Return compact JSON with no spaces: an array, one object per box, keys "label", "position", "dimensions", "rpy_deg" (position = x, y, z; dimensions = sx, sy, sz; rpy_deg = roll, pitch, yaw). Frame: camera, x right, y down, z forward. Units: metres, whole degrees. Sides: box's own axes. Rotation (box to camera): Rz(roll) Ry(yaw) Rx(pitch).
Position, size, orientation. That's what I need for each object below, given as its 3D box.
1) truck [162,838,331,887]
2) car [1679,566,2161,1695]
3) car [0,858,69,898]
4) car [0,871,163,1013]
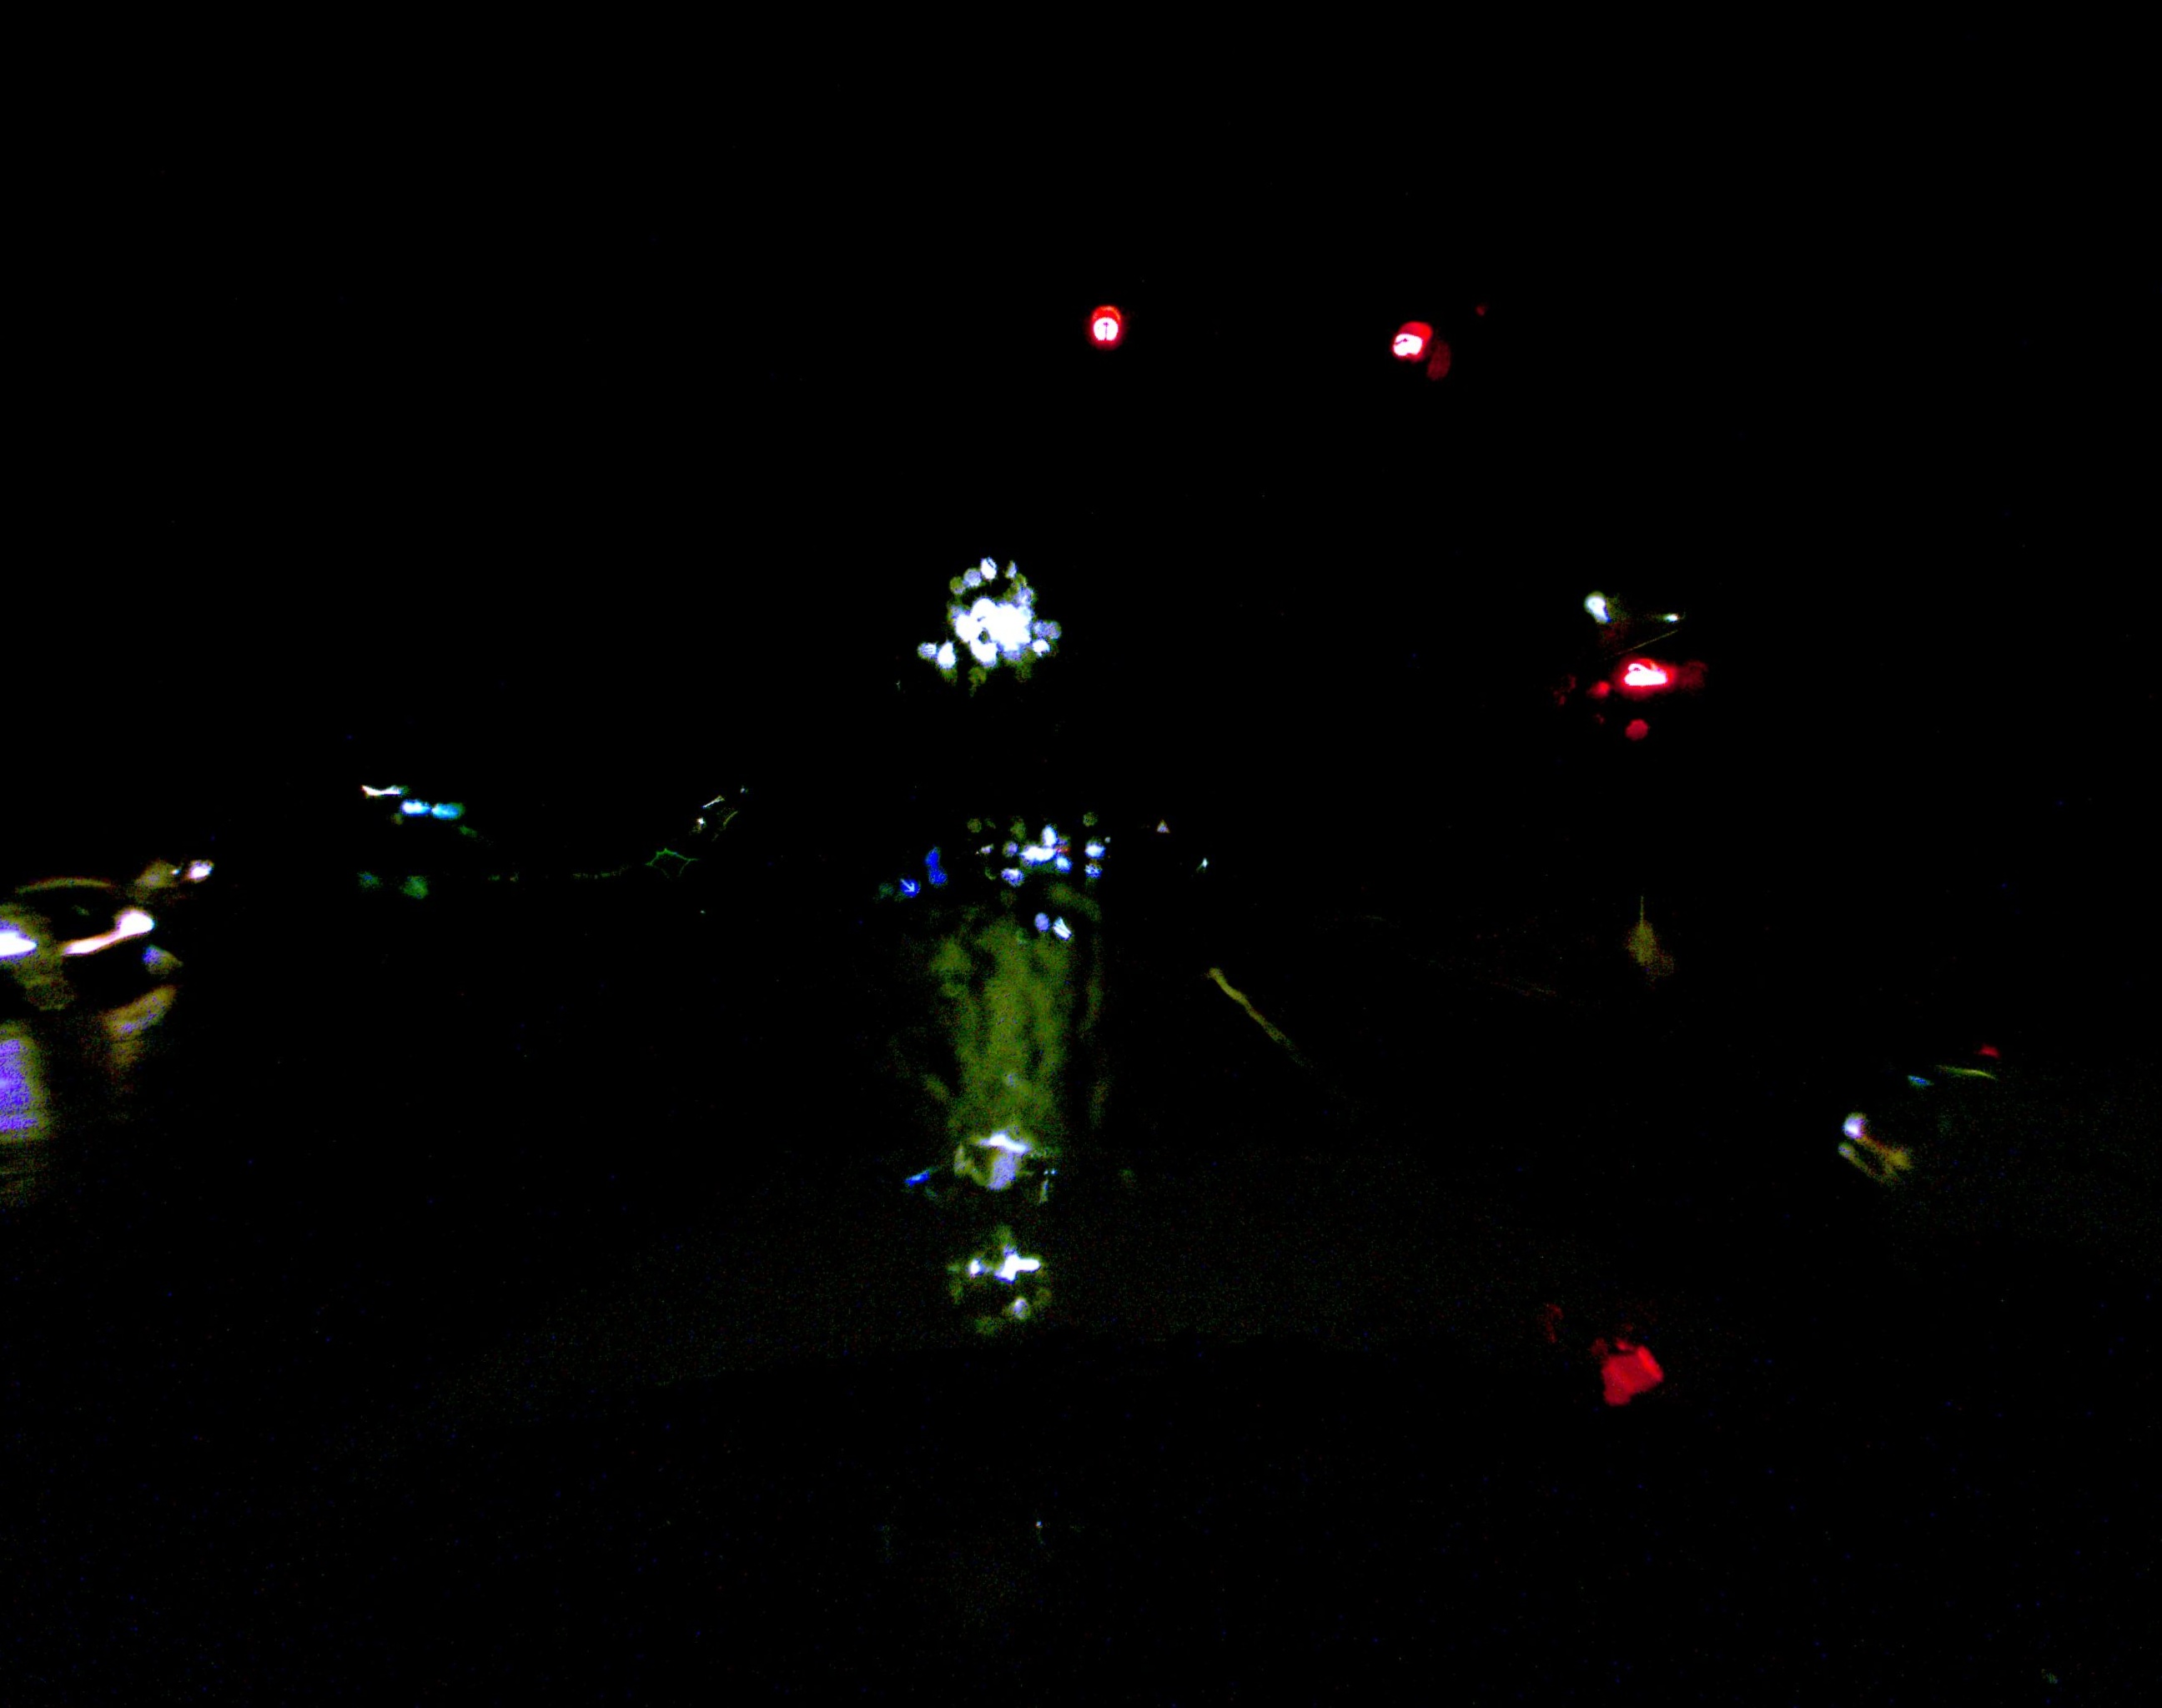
[{"label":"truck","position":[-41.630,0.417,40.907],"dimensions":[1.985,2.271,6.027],"rpy_deg":[0,0,4]},{"label":"car","position":[2.826,0.484,0.322],"dimensions":[1.786,2.022,4.578],"rpy_deg":[-1,0,0]},{"label":"car","position":[-41.502,0.902,30.840],"dimensions":[1.721,1.519,3.988],"rpy_deg":[0,0,-9]},{"label":"car","position":[-13.925,0.990,9.688],"dimensions":[4.343,1.518,1.517],"rpy_deg":[0,-1,2]}]
